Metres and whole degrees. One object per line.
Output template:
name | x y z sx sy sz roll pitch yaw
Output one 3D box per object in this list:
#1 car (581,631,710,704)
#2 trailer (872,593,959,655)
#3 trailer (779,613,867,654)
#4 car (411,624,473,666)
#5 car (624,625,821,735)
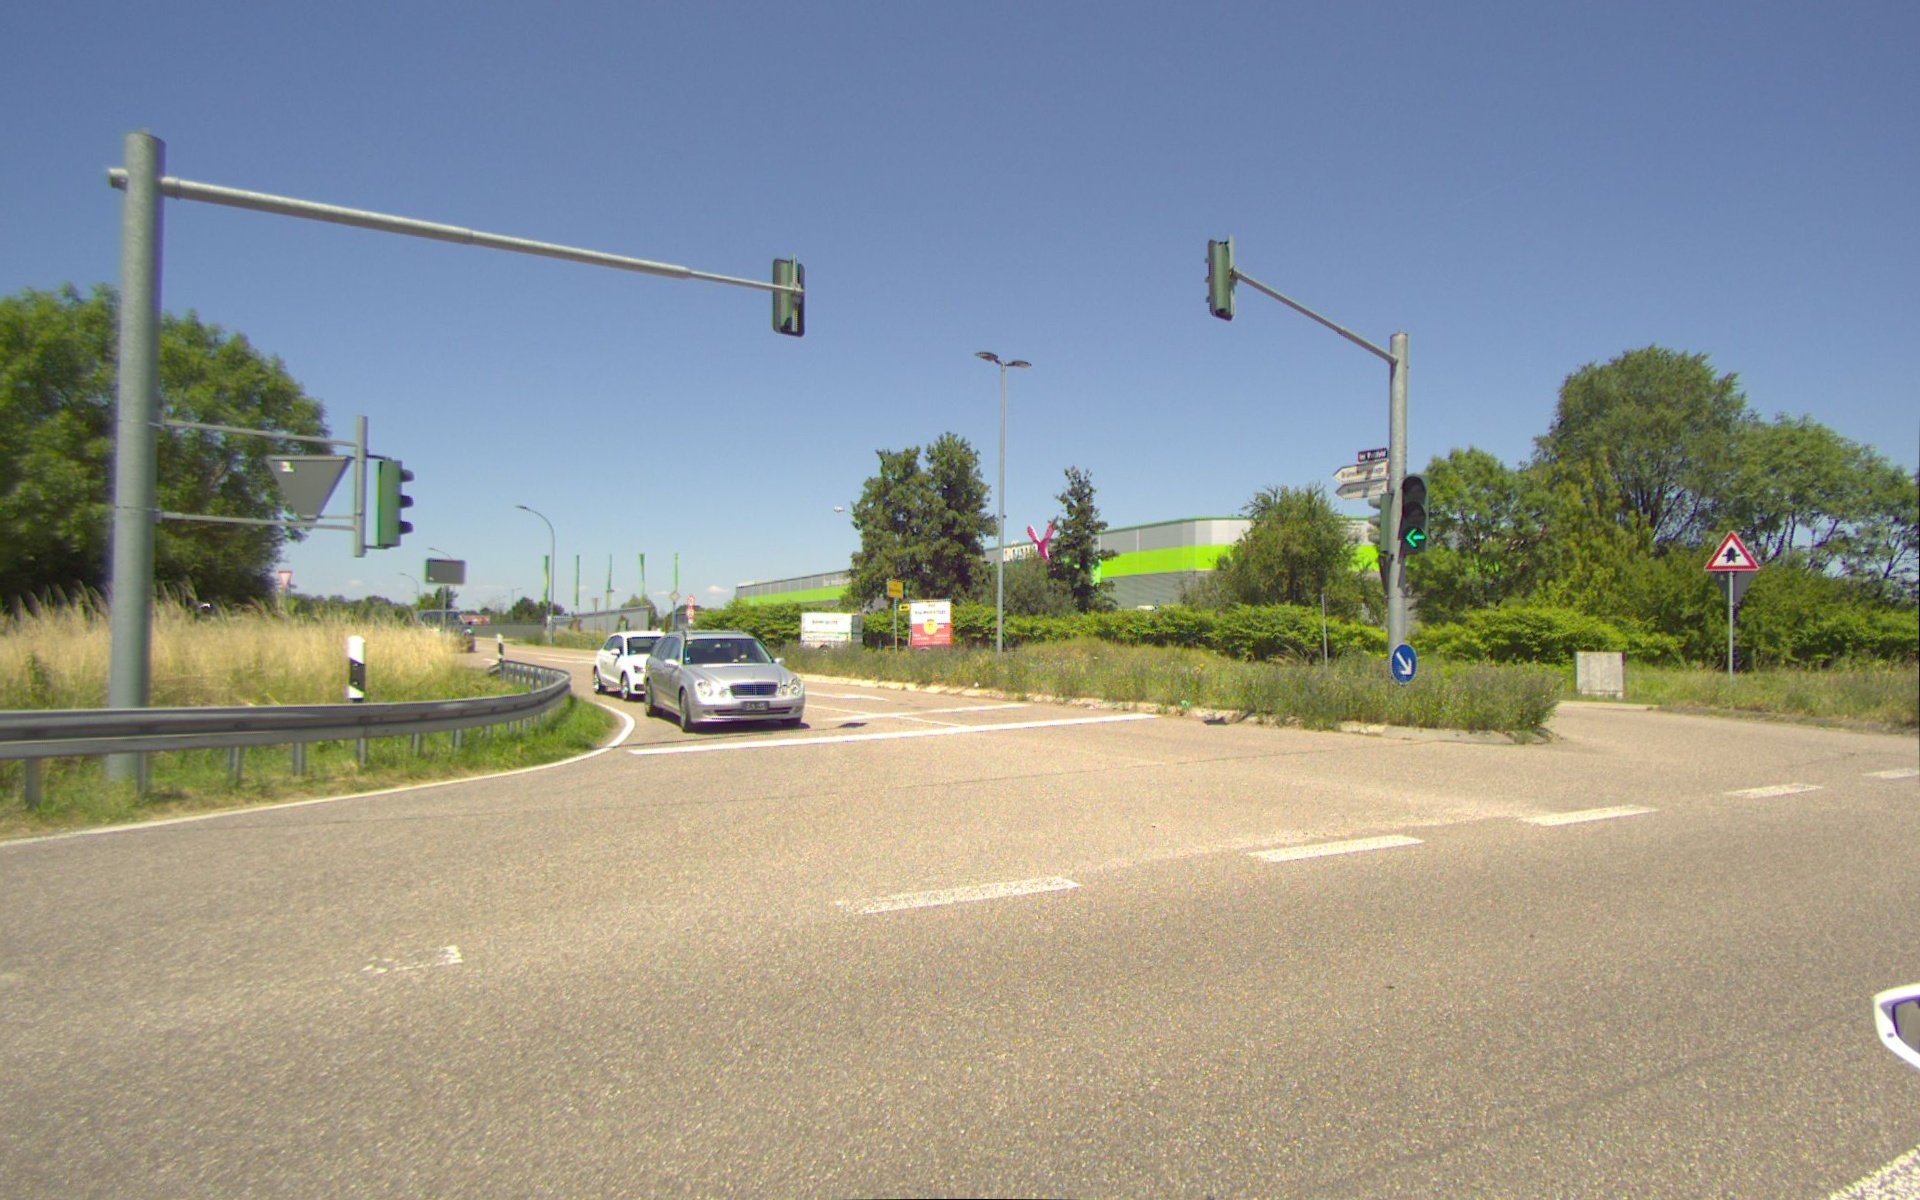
car | -7.112 1.440 22.507 1.752 1.417 3.927 1 -1 -33
trailer | -2.108 1.140 47.608 3.683 2.801 1.827 1 -1 16
trailer | -6.443 1.559 47.370 3.683 1.814 1.827 1 -1 17
car | -21.741 1.835 42.096 1.754 1.646 4.192 1 -1 -35
car | -4.060 1.185 16.464 1.855 1.476 4.932 2 -2 -29
